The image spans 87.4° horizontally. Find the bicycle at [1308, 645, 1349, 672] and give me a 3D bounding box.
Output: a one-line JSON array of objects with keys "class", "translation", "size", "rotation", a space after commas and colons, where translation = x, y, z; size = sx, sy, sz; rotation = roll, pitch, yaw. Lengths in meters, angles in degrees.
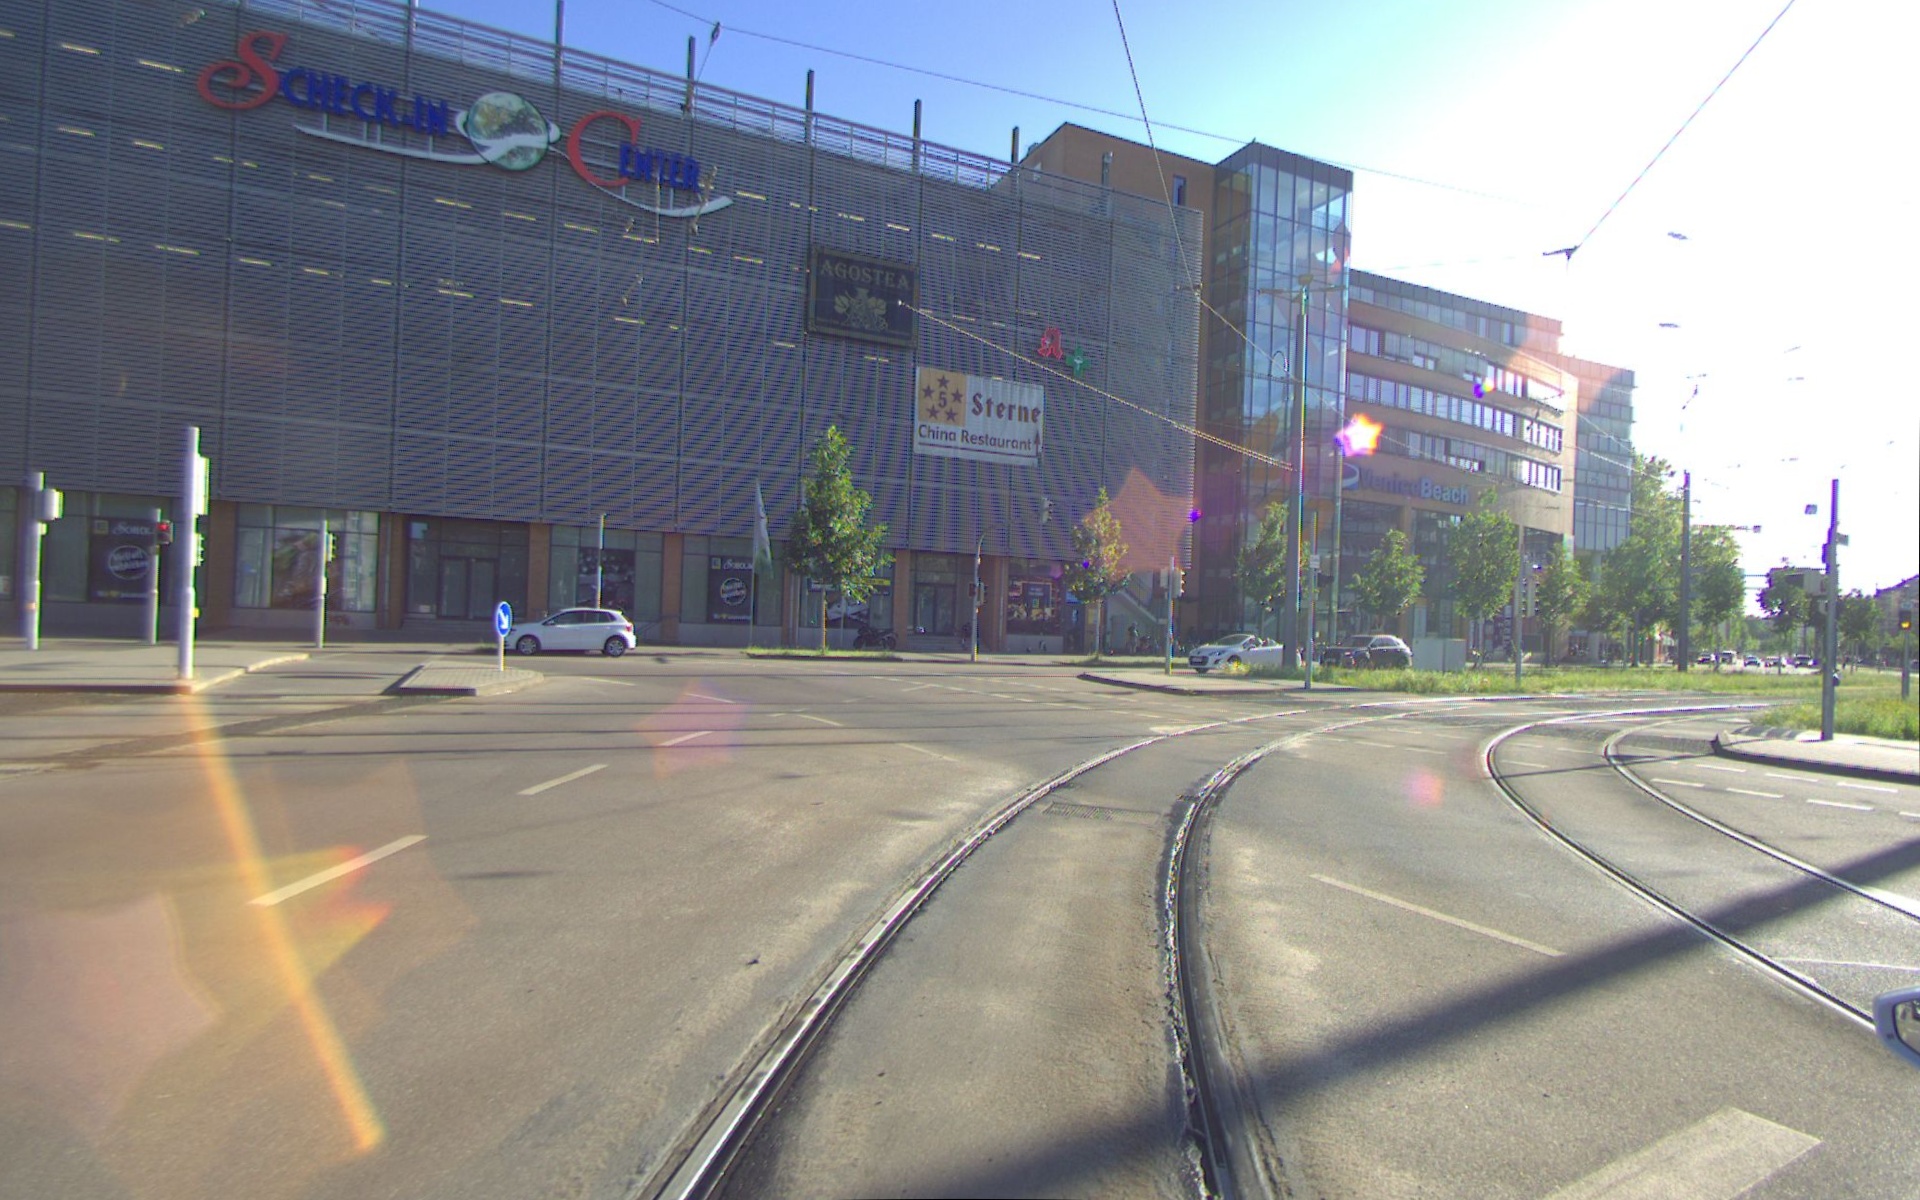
[{"class": "bicycle", "translation": [21.722, 3.422, 59.223], "size": [0.890, 1.452, 2.562], "rotation": [4, -2, -15]}]

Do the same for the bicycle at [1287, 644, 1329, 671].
[{"class": "bicycle", "translation": [20.354, 3.335, 58.743], "size": [1.059, 1.452, 2.460], "rotation": [4, -2, -15]}]

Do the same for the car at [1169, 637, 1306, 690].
[{"class": "car", "translation": [9.852, 2.255, 35.625], "size": [4.474, 1.566, 1.986], "rotation": [4, -1, -28]}]

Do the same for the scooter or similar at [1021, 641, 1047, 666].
[{"class": "scooter or similar", "translation": [3.658, 2.646, 49.448], "size": [1.136, 1.124, 0.420], "rotation": [5, -3, -24]}]

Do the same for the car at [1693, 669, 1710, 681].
[{"class": "car", "translation": [109.599, 11.063, 148.516], "size": [1.968, 1.706, 3.987], "rotation": [2, -2, 37]}]

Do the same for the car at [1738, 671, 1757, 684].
[{"class": "car", "translation": [114.817, 11.291, 146.519], "size": [1.968, 1.706, 3.987], "rotation": [2, -2, 37]}]

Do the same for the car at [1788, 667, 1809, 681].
[{"class": "car", "translation": [119.275, 10.524, 142.843], "size": [1.968, 1.706, 3.987], "rotation": [2, -2, 37]}]

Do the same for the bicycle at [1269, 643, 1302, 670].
[{"class": "bicycle", "translation": [18.687, 3.256, 57.774], "size": [0.794, 1.452, 1.978], "rotation": [4, -2, -15]}]

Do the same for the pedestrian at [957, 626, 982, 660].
[{"class": "pedestrian", "translation": [0.456, 2.094, 49.350], "size": [0.818, 1.586, 0.985], "rotation": [5, -3, -24]}]

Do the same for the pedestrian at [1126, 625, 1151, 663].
[{"class": "pedestrian", "translation": [9.204, 2.273, 51.822], "size": [0.892, 1.848, 0.825], "rotation": [5, -3, -23]}]

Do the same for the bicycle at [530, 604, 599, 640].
[{"class": "bicycle", "translation": [-15.235, 0.851, 38.784], "size": [2.380, 1.236, 0.799], "rotation": [4, -1, -21]}]

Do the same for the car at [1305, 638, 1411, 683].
[{"class": "car", "translation": [17.217, 2.613, 43.389], "size": [4.363, 1.661, 1.983], "rotation": [5, -1, -31]}]

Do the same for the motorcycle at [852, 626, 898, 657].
[{"class": "motorcycle", "translation": [-3.764, 1.844, 44.471], "size": [1.869, 1.254, 0.674], "rotation": [5, -2, -26]}]

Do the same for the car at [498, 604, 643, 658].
[{"class": "car", "translation": [-11.848, 0.956, 30.570], "size": [3.948, 1.425, 1.888], "rotation": [4, -2, -26]}]

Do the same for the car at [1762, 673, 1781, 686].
[{"class": "car", "translation": [116.854, 11.400, 144.650], "size": [1.968, 1.706, 3.987], "rotation": [2, -2, 37]}]

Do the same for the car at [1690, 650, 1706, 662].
[{"class": "car", "translation": [136.230, 10.367, 185.372], "size": [1.971, 2.040, 3.979], "rotation": [2, -2, 42]}]
